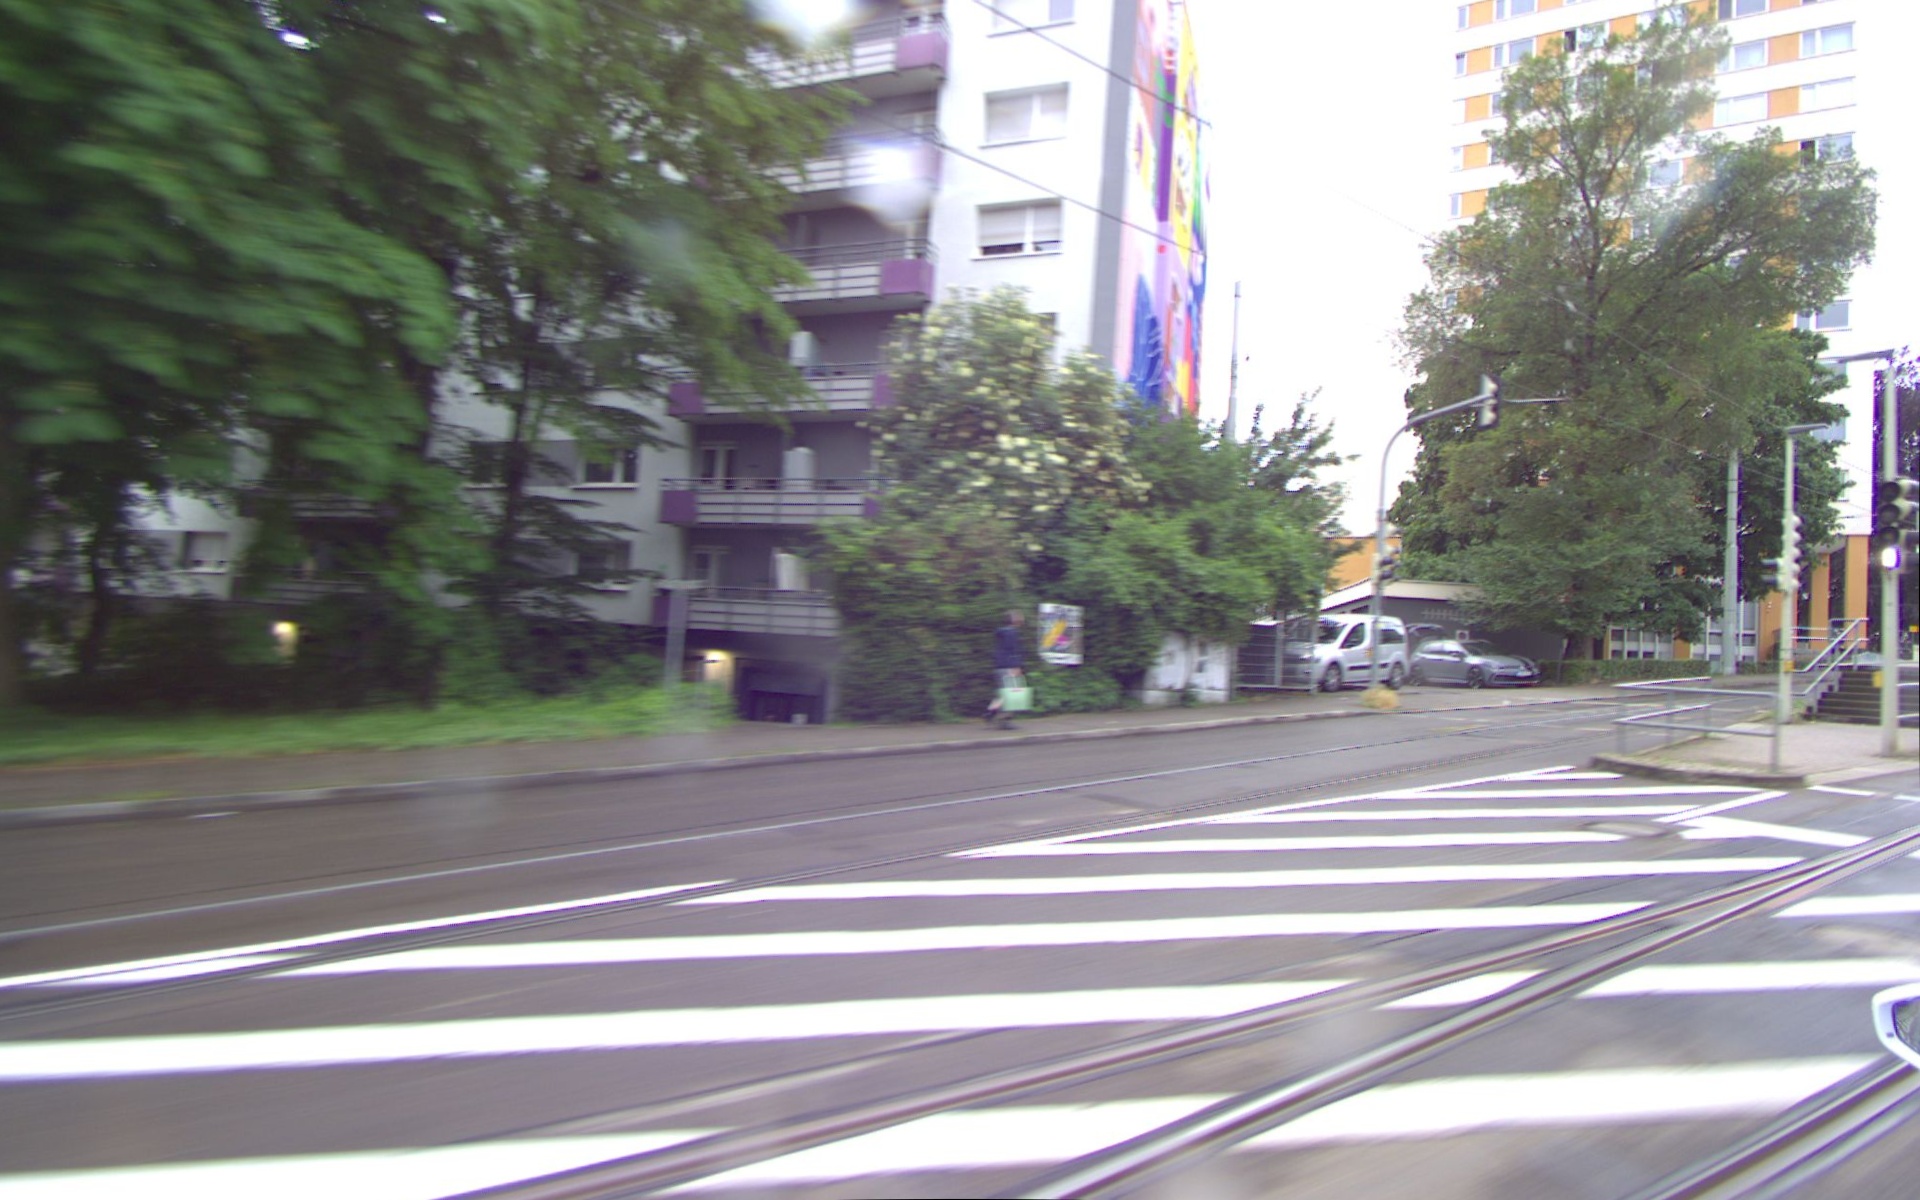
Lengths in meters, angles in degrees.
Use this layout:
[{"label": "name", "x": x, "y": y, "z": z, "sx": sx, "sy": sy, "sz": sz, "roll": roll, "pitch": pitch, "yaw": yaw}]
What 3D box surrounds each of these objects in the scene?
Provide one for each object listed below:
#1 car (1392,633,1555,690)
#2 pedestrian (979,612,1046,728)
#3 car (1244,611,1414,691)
[{"label": "car", "x": 15.453, "y": 1.814, "z": 30.531, "sx": 1.912, "sy": 1.563, "sz": 4.481, "roll": 1, "pitch": -2, "yaw": -15}, {"label": "pedestrian", "x": 0.754, "y": 1.003, "z": 14.614, "sx": 0.611, "sy": 1.615, "sz": 0.748, "roll": 2, "pitch": 0, "yaw": -33}, {"label": "car", "x": 8.875, "y": 1.182, "z": 23.998, "sx": 4.401, "sy": 1.739, "sz": 1.734, "roll": 2, "pitch": -2, "yaw": -37}]
